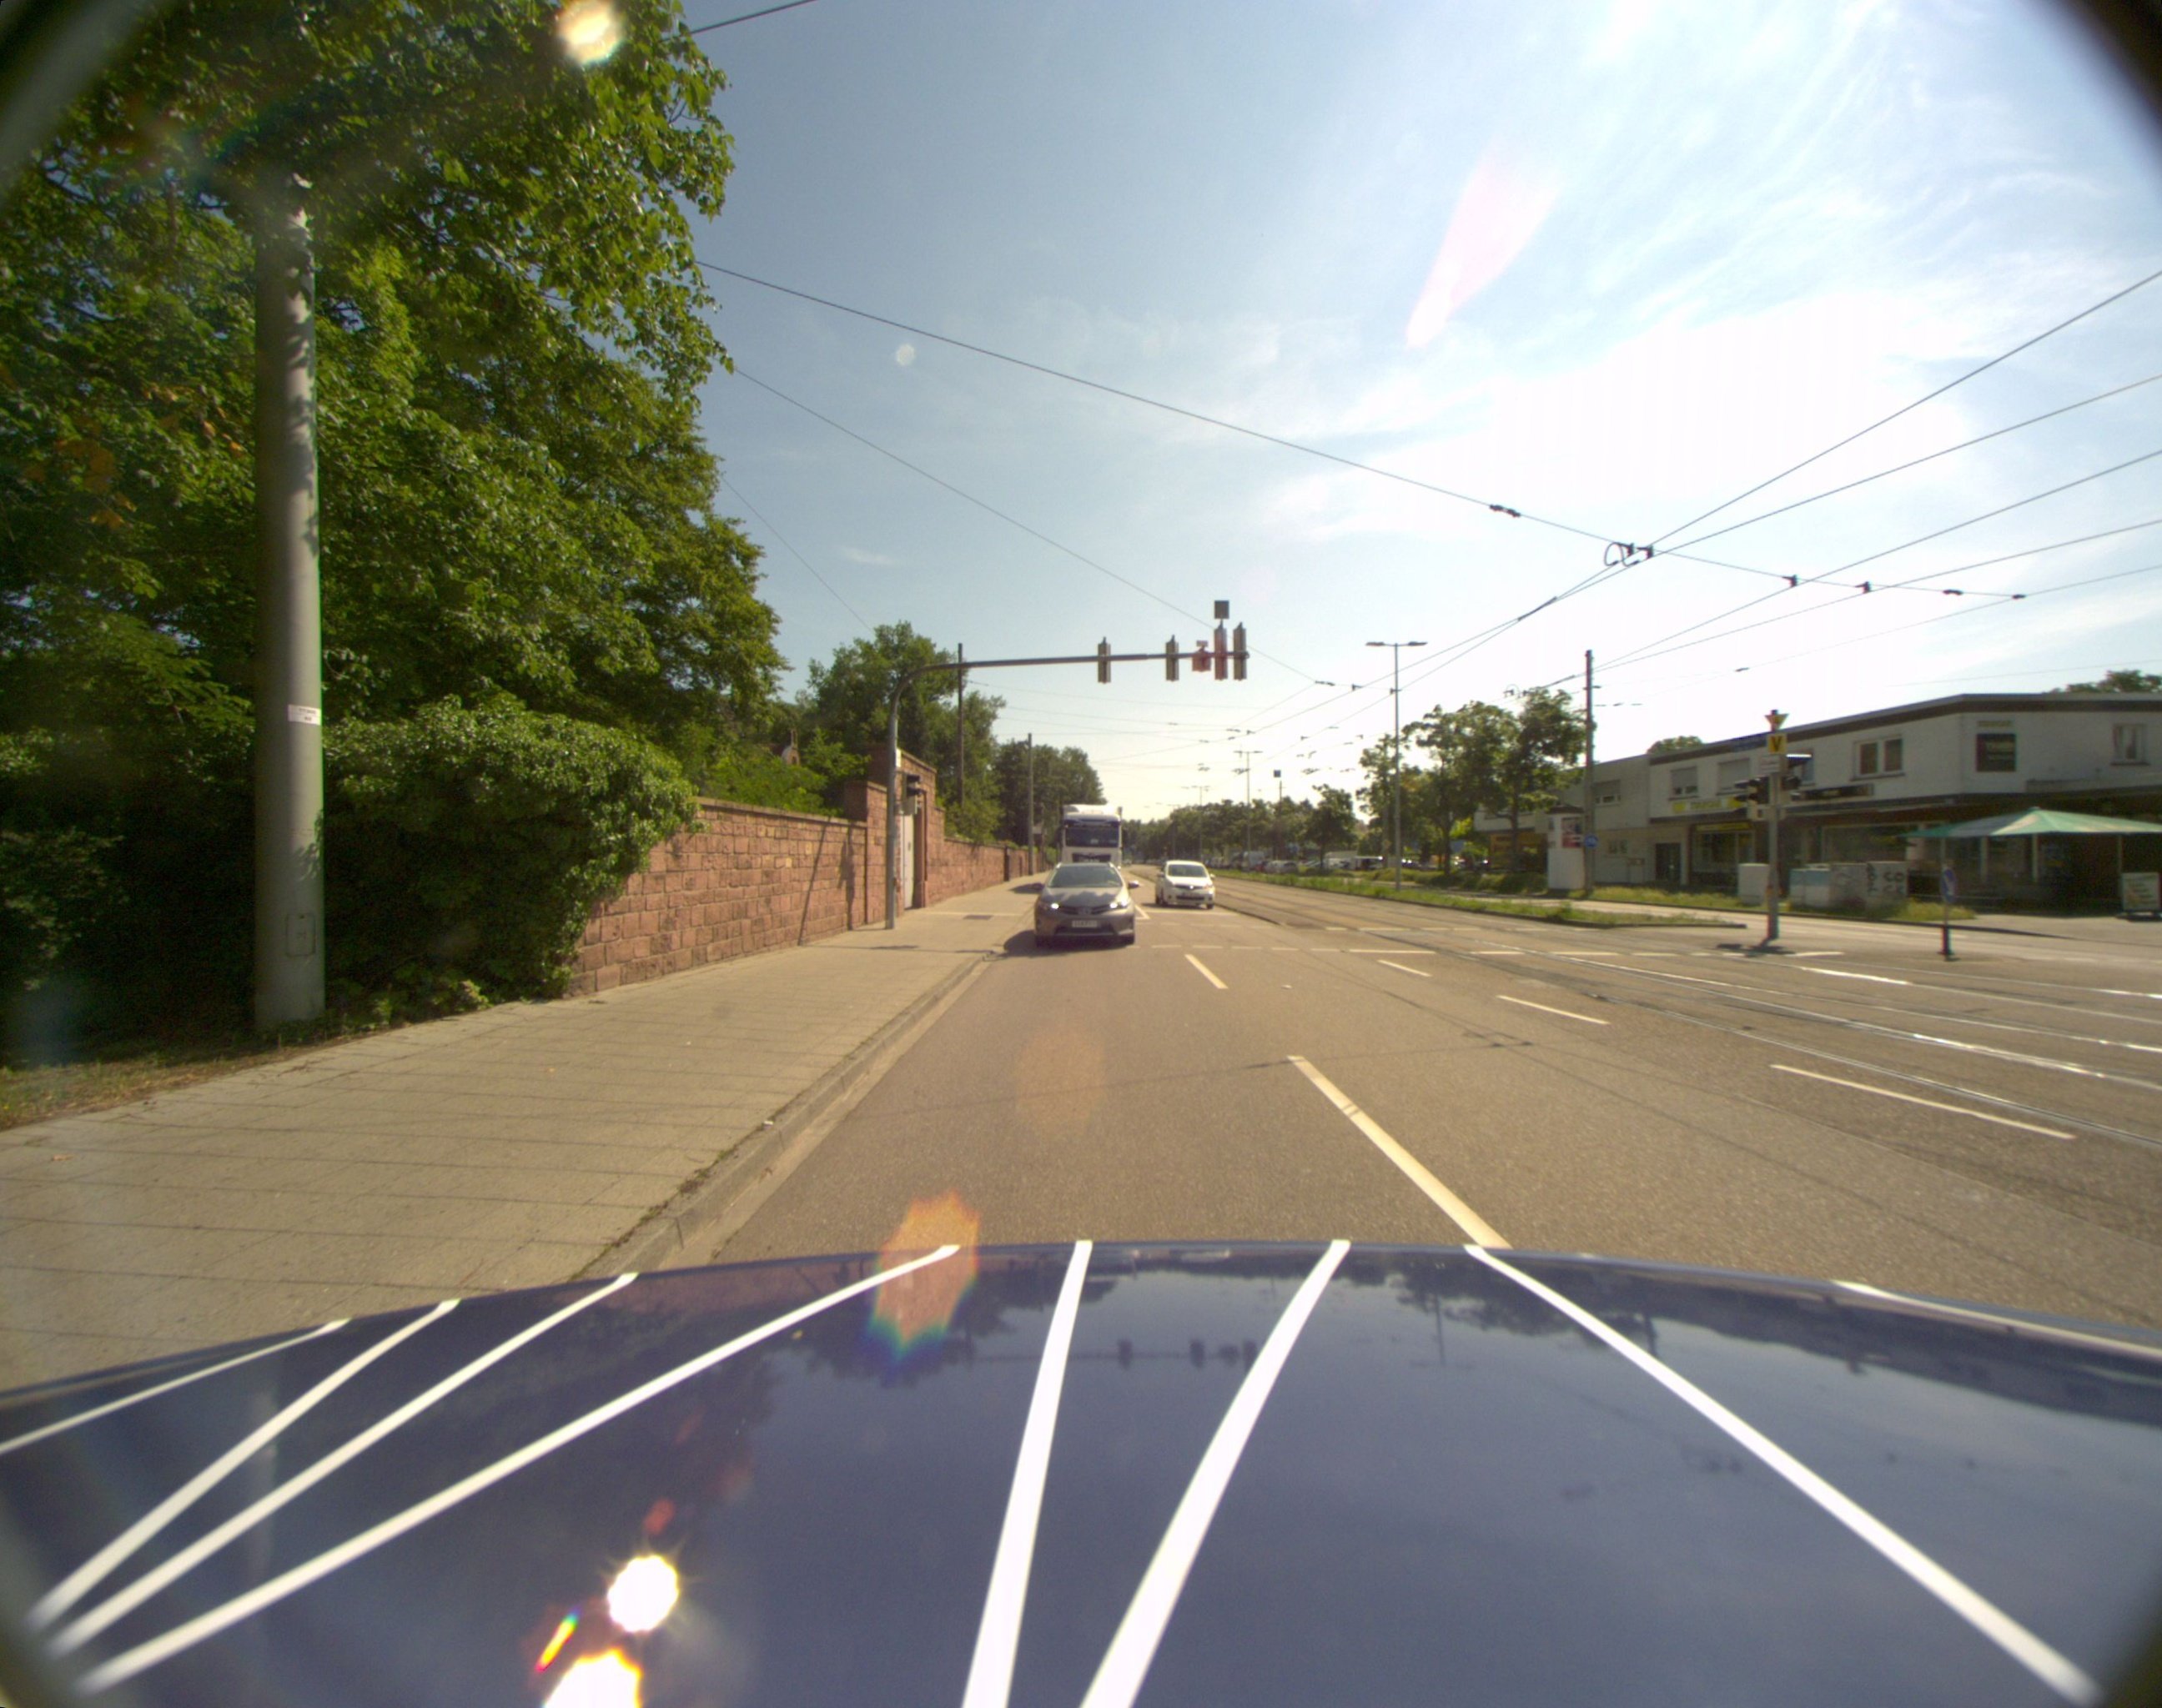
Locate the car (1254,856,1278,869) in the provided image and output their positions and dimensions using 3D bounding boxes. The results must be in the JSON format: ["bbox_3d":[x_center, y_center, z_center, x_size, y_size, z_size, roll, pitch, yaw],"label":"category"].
[{"bbox_3d":[21.865,1.014,90.091,1.892,1.486,4.232,0,0,1],"label":"car"}]

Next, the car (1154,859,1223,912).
[{"bbox_3d":[3.503,0.986,25.410,1.770,1.552,4.067,1,0,2],"label":"car"}]

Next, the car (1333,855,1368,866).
[{"bbox_3d":[32.495,0.768,91.719,3.624,1.274,1.813,0,0,0],"label":"car"}]

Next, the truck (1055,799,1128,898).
[{"bbox_3d":[0.532,-0.219,34.706,2.746,3.852,9.111,2,0,2],"label":"truck"}]

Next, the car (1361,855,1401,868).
[{"bbox_3d":[32.034,0.786,81.236,3.624,1.353,1.712,0,0,0],"label":"car"}]

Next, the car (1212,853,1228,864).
[{"bbox_3d":[22.977,0.772,125.456,1.892,1.757,4.232,0,0,1],"label":"car"}]

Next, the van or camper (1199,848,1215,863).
[{"bbox_3d":[22.852,0.269,137.727,2.114,2.604,5.452,1,0,2],"label":"van or camper"}]

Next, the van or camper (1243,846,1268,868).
[{"bbox_3d":[21.797,0.385,94.971,2.040,2.617,4.840,0,0,1],"label":"van or camper"}]

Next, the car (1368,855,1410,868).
[{"bbox_3d":[31.791,0.797,78.496,3.624,1.353,1.712,0,0,0],"label":"car"}]

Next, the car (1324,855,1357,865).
[{"bbox_3d":[33.067,0.752,96.815,3.624,1.274,1.712,0,0,0],"label":"car"}]

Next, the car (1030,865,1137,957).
[{"bbox_3d":[0.101,0.963,14.635,1.742,1.424,4.463,0,0,2],"label":"car"}]

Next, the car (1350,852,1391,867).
[{"bbox_3d":[31.829,0.585,83.707,3.749,1.560,1.951,0,0,0],"label":"car"}]

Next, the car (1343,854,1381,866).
[{"bbox_3d":[31.784,0.654,86.034,3.624,1.277,1.712,0,0,0],"label":"car"}]

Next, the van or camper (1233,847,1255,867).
[{"bbox_3d":[21.843,0.342,102.028,2.040,2.617,4.840,0,0,1],"label":"van or camper"}]

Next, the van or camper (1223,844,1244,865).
[{"bbox_3d":[22.040,0.122,109.918,2.128,2.967,5.281,0,0,1],"label":"van or camper"}]

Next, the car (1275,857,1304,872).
[{"bbox_3d":[21.615,1.076,78.940,1.892,1.486,4.286,-3,0,3],"label":"car"}]

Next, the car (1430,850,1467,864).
[{"bbox_3d":[45.088,0.377,93.220,3.624,1.767,1.712,0,0,0],"label":"car"}]

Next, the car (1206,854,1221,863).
[{"bbox_3d":[22.907,0.812,131.312,1.892,1.551,4.232,0,0,1],"label":"car"}]

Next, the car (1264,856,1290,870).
[{"bbox_3d":[21.729,0.979,84.292,1.892,1.551,4.285,0,0,1],"label":"car"}]

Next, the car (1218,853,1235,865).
[{"bbox_3d":[22.607,0.778,118.523,1.892,1.724,4.232,0,0,1],"label":"car"}]

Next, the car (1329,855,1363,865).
[{"bbox_3d":[32.924,0.762,94.300,3.624,1.274,1.712,0,0,0],"label":"car"}]

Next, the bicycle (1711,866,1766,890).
[{"bbox_3d":[28.544,1.034,33.023,0.760,0.977,1.911,0,0,2],"label":"bicycle"}]

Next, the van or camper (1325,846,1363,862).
[{"bbox_3d":[47.013,0.022,136.038,6.081,2.714,2.300,0,0,3],"label":"van or camper"}]

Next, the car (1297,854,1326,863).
[{"bbox_3d":[33.762,0.675,111.296,3.624,1.274,1.712,0,0,0],"label":"car"}]
